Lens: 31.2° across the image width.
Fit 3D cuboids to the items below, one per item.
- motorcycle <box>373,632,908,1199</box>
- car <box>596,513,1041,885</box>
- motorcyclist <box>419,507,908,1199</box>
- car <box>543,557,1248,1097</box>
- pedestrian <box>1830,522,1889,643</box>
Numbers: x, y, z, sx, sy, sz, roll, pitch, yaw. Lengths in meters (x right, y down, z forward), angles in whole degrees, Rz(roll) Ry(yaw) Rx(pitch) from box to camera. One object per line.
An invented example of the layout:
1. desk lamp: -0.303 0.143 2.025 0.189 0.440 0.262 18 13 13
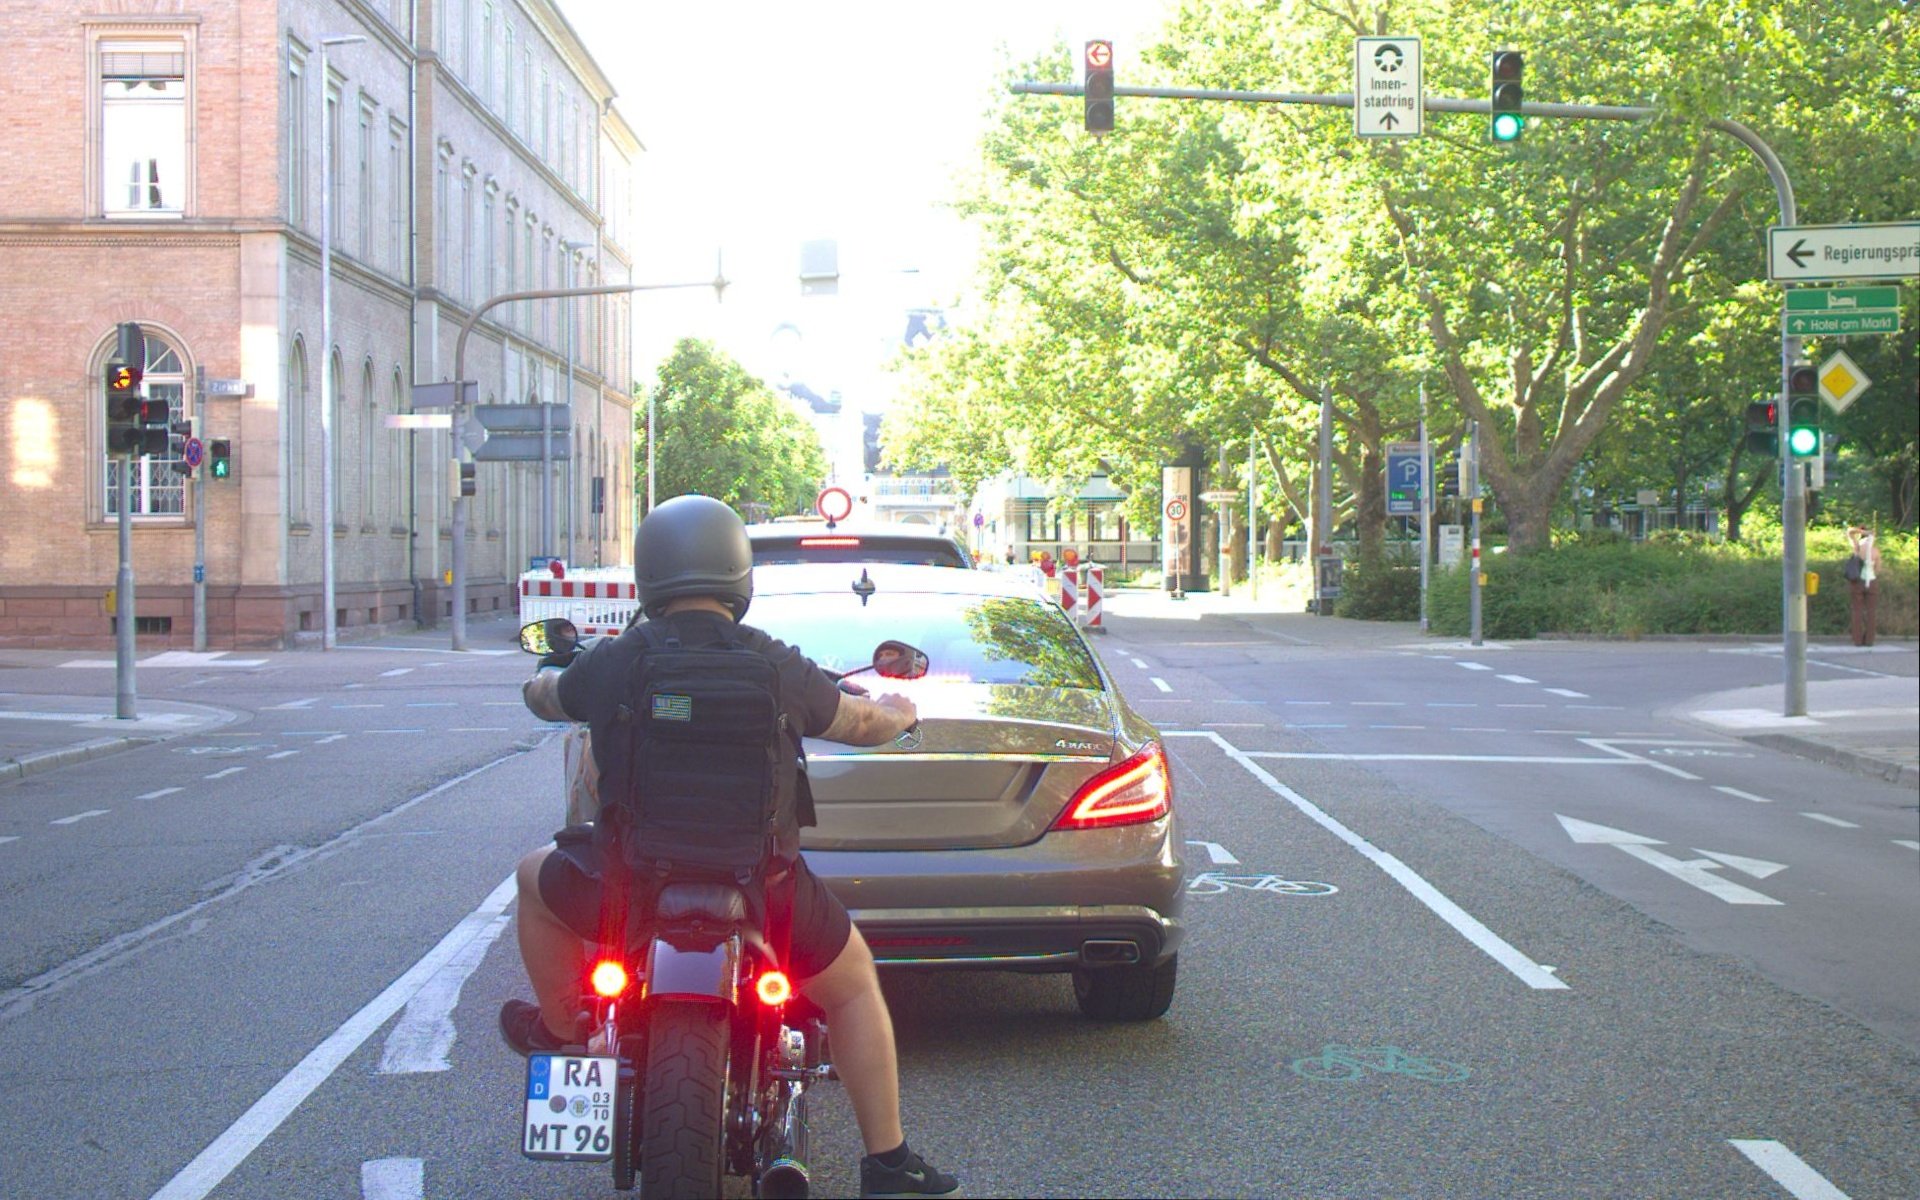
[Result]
1. motorcycle: -0.610 0.740 7.585 0.980 1.271 2.407 0 1 -1
2. car: -0.665 0.429 17.566 1.993 1.660 4.000 1 1 -1
3. motorcyclist: -0.608 0.586 7.573 0.980 1.573 1.248 0 1 -1
4. car: -0.430 0.587 11.644 1.869 1.439 4.431 0 1 -8
5. pedestrian: 13.240 -0.261 50.594 0.678 1.766 0.616 1 0 29
